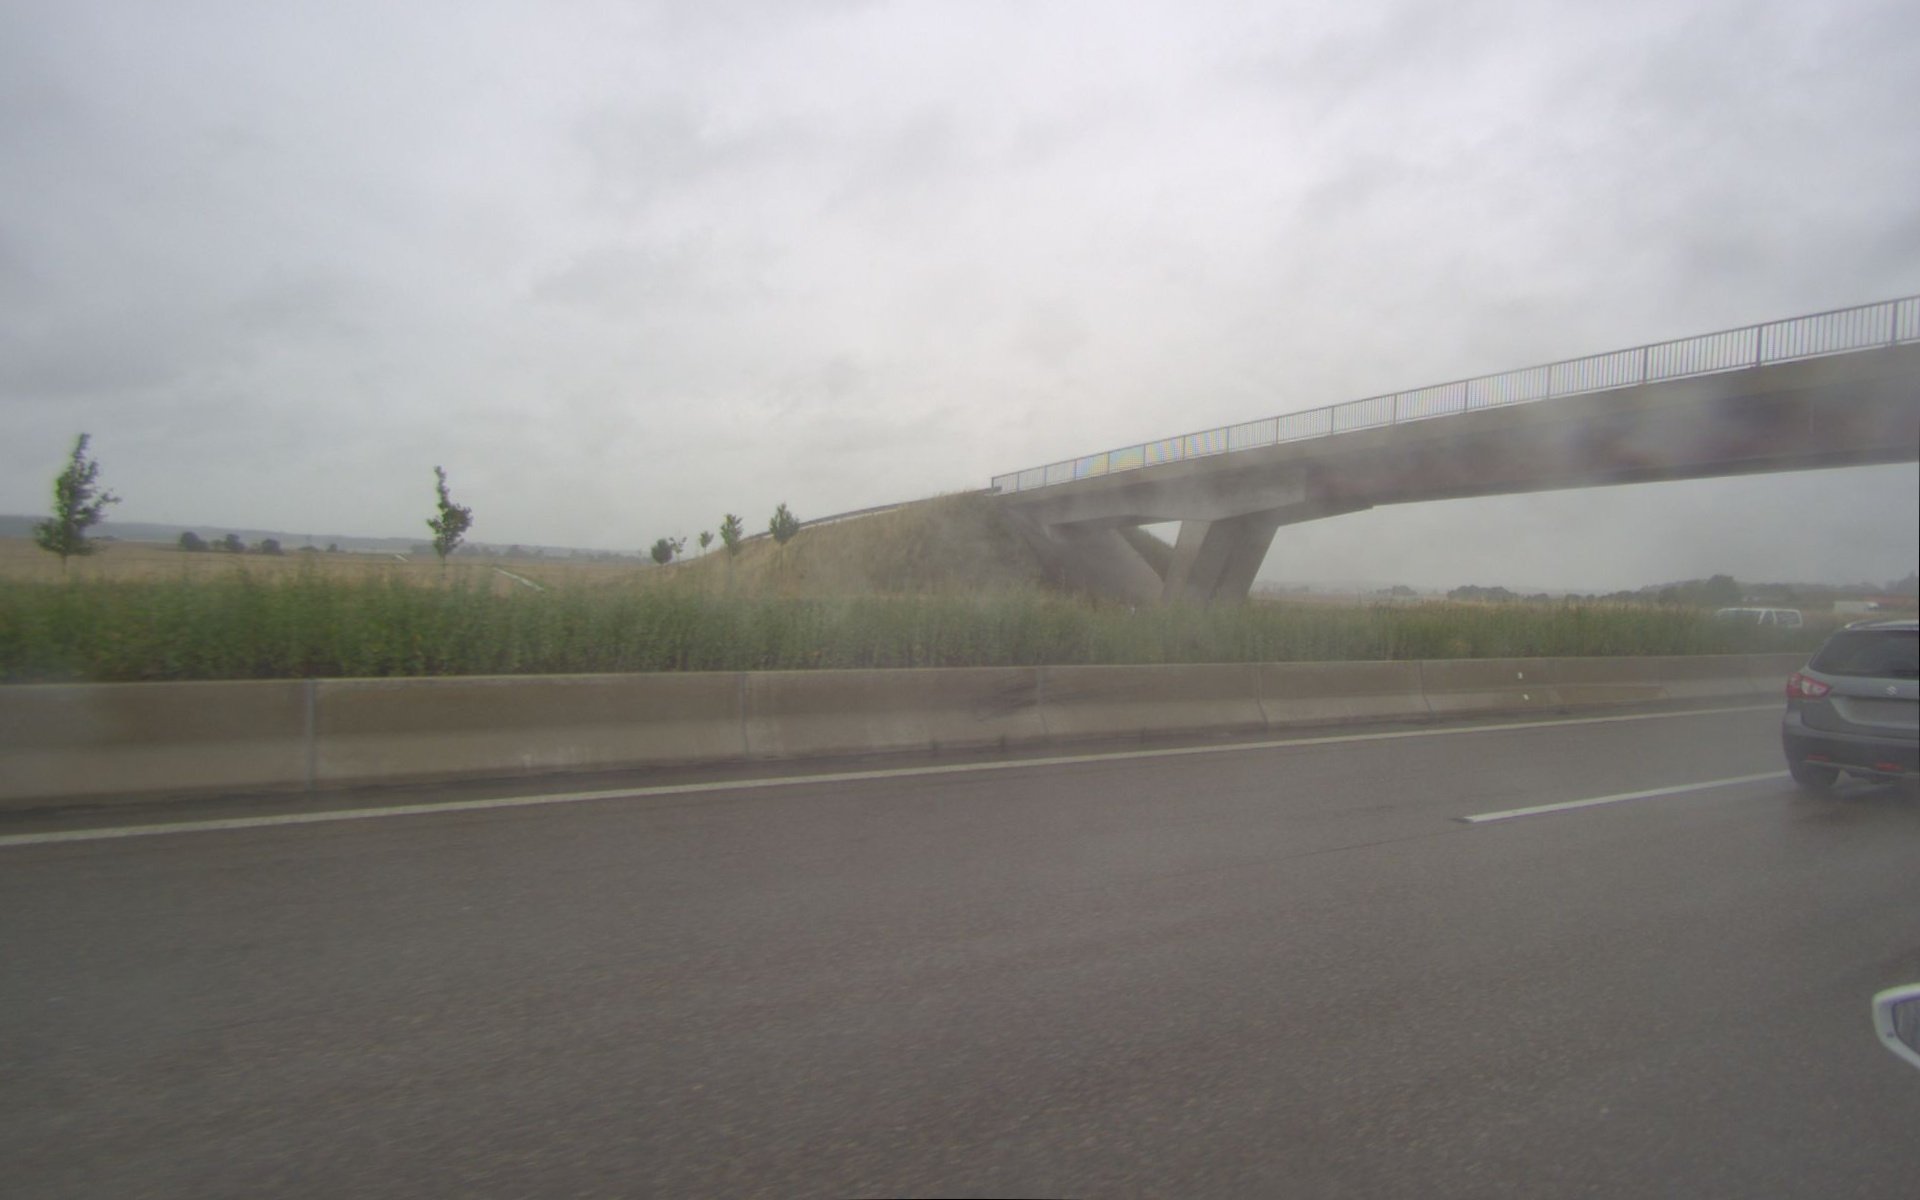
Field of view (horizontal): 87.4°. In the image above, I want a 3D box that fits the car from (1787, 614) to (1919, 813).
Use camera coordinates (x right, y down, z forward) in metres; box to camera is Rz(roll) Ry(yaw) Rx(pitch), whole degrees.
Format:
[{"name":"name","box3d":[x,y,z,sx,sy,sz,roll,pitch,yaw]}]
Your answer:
[{"name":"car","box3d":[9.412,0.936,9.151,4.712,1.533,1.833,1,0,-37]}]
